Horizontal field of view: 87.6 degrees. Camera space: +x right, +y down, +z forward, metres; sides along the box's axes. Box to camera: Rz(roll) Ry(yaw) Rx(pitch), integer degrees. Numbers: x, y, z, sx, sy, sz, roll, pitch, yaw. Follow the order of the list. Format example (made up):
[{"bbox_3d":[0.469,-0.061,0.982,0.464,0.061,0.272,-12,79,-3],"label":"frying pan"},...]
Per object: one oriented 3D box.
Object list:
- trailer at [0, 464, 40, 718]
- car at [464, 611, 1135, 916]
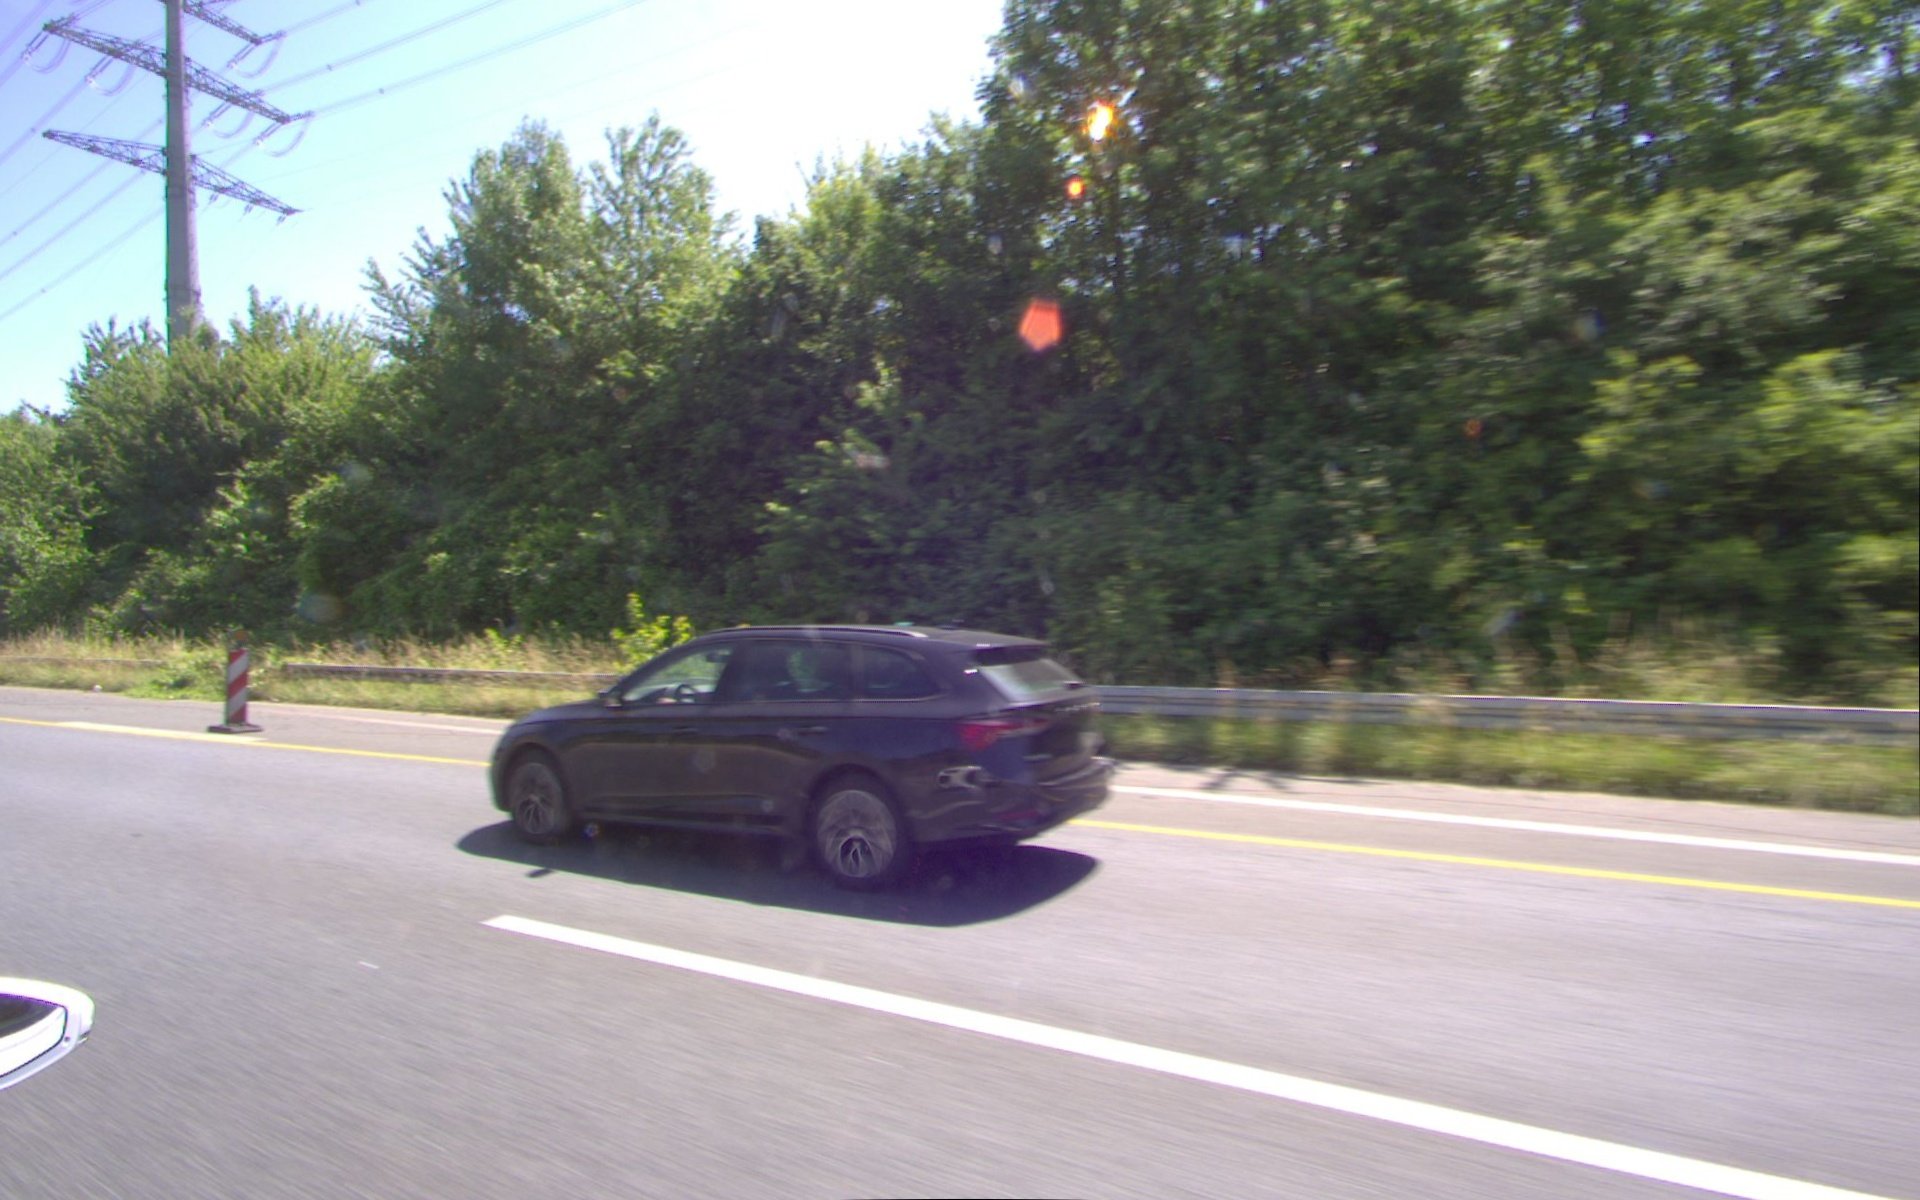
[{"bbox_3d":[-20.940,-0.092,17.976,11.311,4.095,3.063,-1,-1,29],"label":"trailer"},{"bbox_3d":[-1.198,0.872,6.829,4.397,1.508,1.777,-1,-2,30],"label":"car"}]
